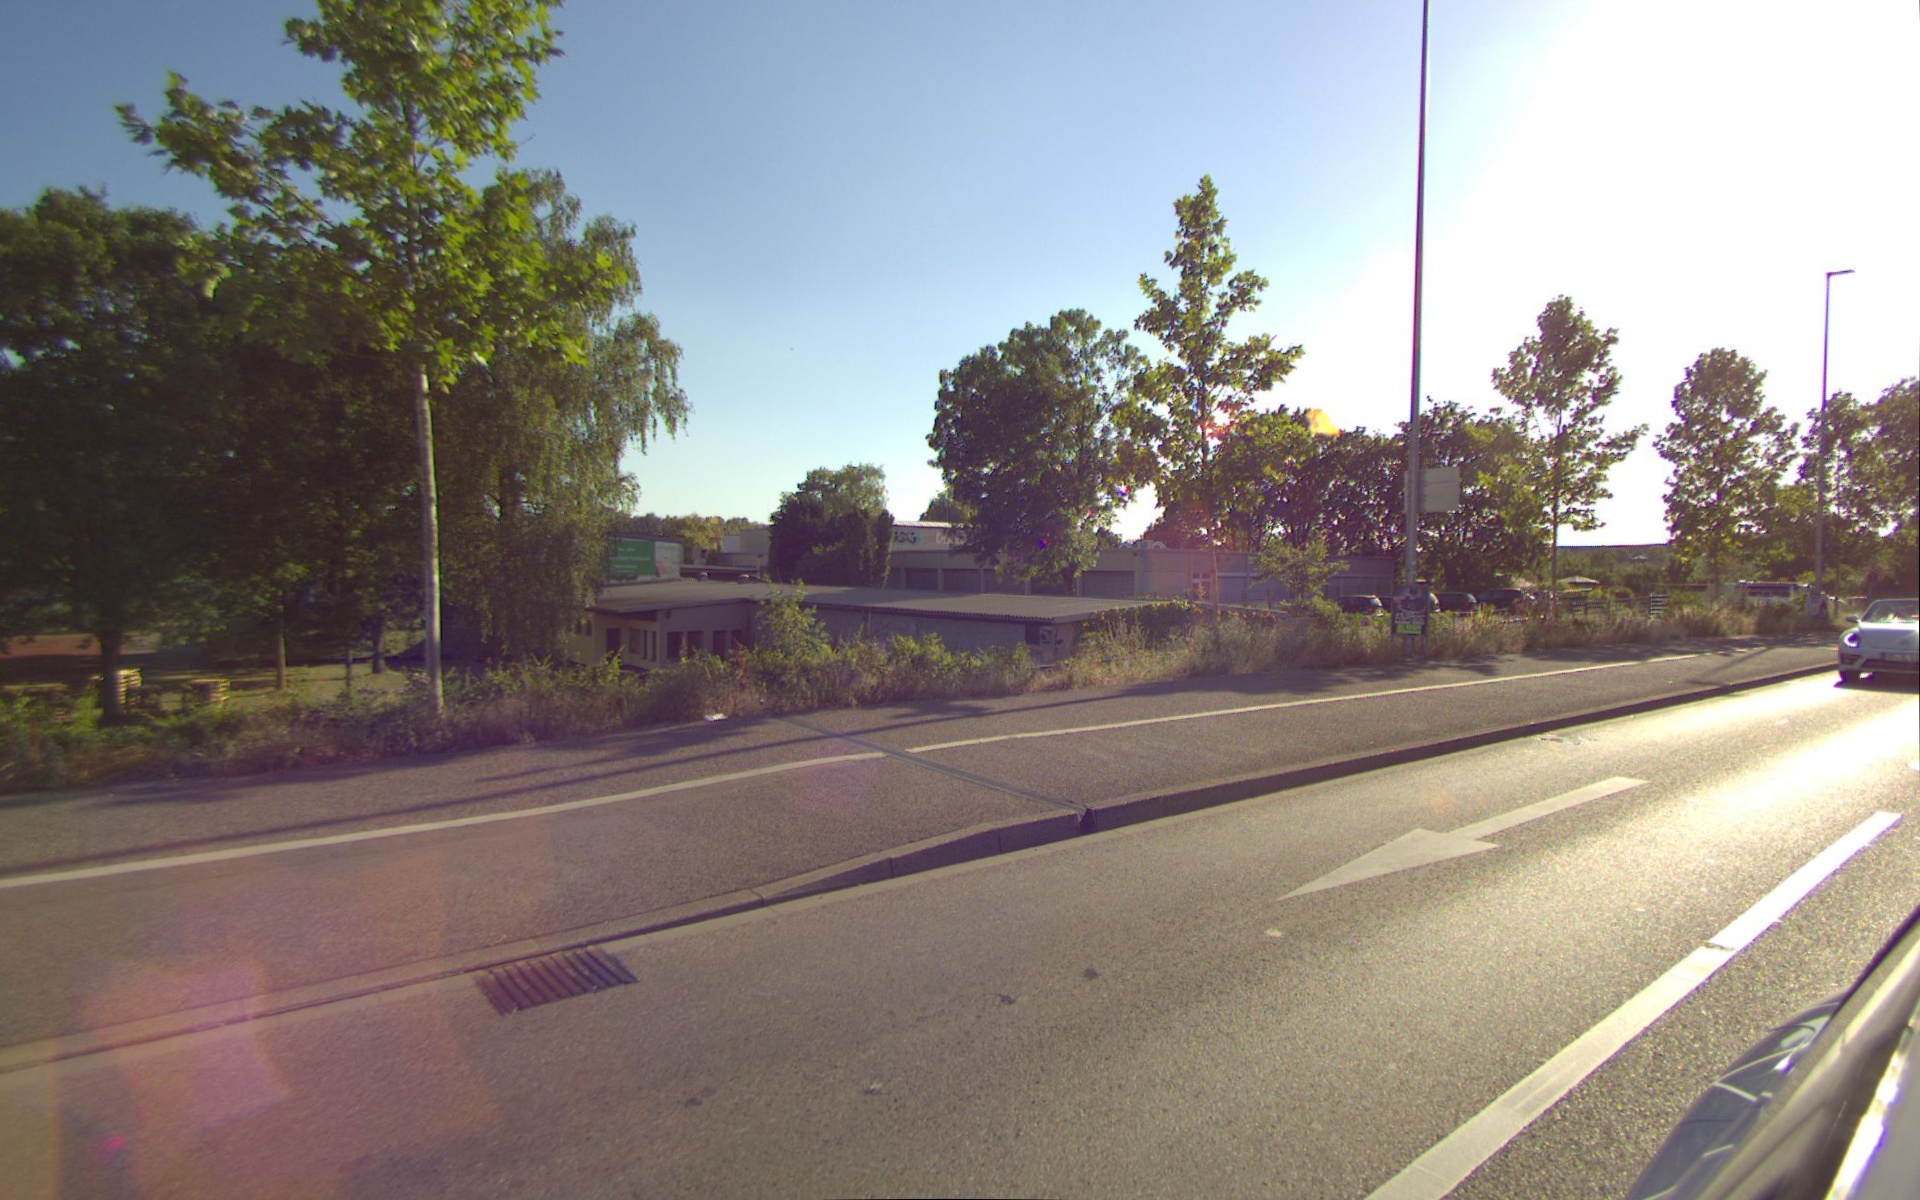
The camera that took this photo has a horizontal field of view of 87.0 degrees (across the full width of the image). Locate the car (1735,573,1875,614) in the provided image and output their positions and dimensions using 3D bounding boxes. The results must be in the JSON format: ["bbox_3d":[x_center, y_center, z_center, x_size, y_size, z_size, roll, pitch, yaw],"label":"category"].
[{"bbox_3d":[43.997,-0.309,52.812,2.067,2.048,5.345,0,-1,-41],"label":"car"}]

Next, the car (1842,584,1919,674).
[{"bbox_3d":[16.852,0.465,17.420,3.908,1.441,1.856,0,1,-39],"label":"car"}]

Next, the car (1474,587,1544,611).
[{"bbox_3d":[37.109,-0.053,68.503,1.692,1.606,3.835,0,-1,-40],"label":"car"}]

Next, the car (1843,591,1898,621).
[{"bbox_3d":[53.923,0.353,59.919,4.085,1.668,1.996,0,2,-42],"label":"car"}]

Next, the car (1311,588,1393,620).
[{"bbox_3d":[21.385,0.194,55.300,1.700,1.575,3.787,-4,3,-42],"label":"car"}]

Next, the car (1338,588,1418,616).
[{"bbox_3d":[23.624,0.097,57.254,1.711,1.413,3.787,-4,3,-43],"label":"car"}]

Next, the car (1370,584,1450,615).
[{"bbox_3d":[26.170,-0.035,58.973,1.677,1.687,3.914,-2,1,-41],"label":"car"}]

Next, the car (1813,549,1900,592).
[{"bbox_3d":[57.591,-1.874,64.973,5.810,2.654,2.943,0,1,-35],"label":"car"}]

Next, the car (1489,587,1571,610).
[{"bbox_3d":[39.673,-0.071,70.520,1.827,1.589,4.655,0,-1,-41],"label":"car"}]

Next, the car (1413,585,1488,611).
[{"bbox_3d":[31.224,-0.090,64.514,1.656,1.606,4.025,0,-1,-42],"label":"car"}]
